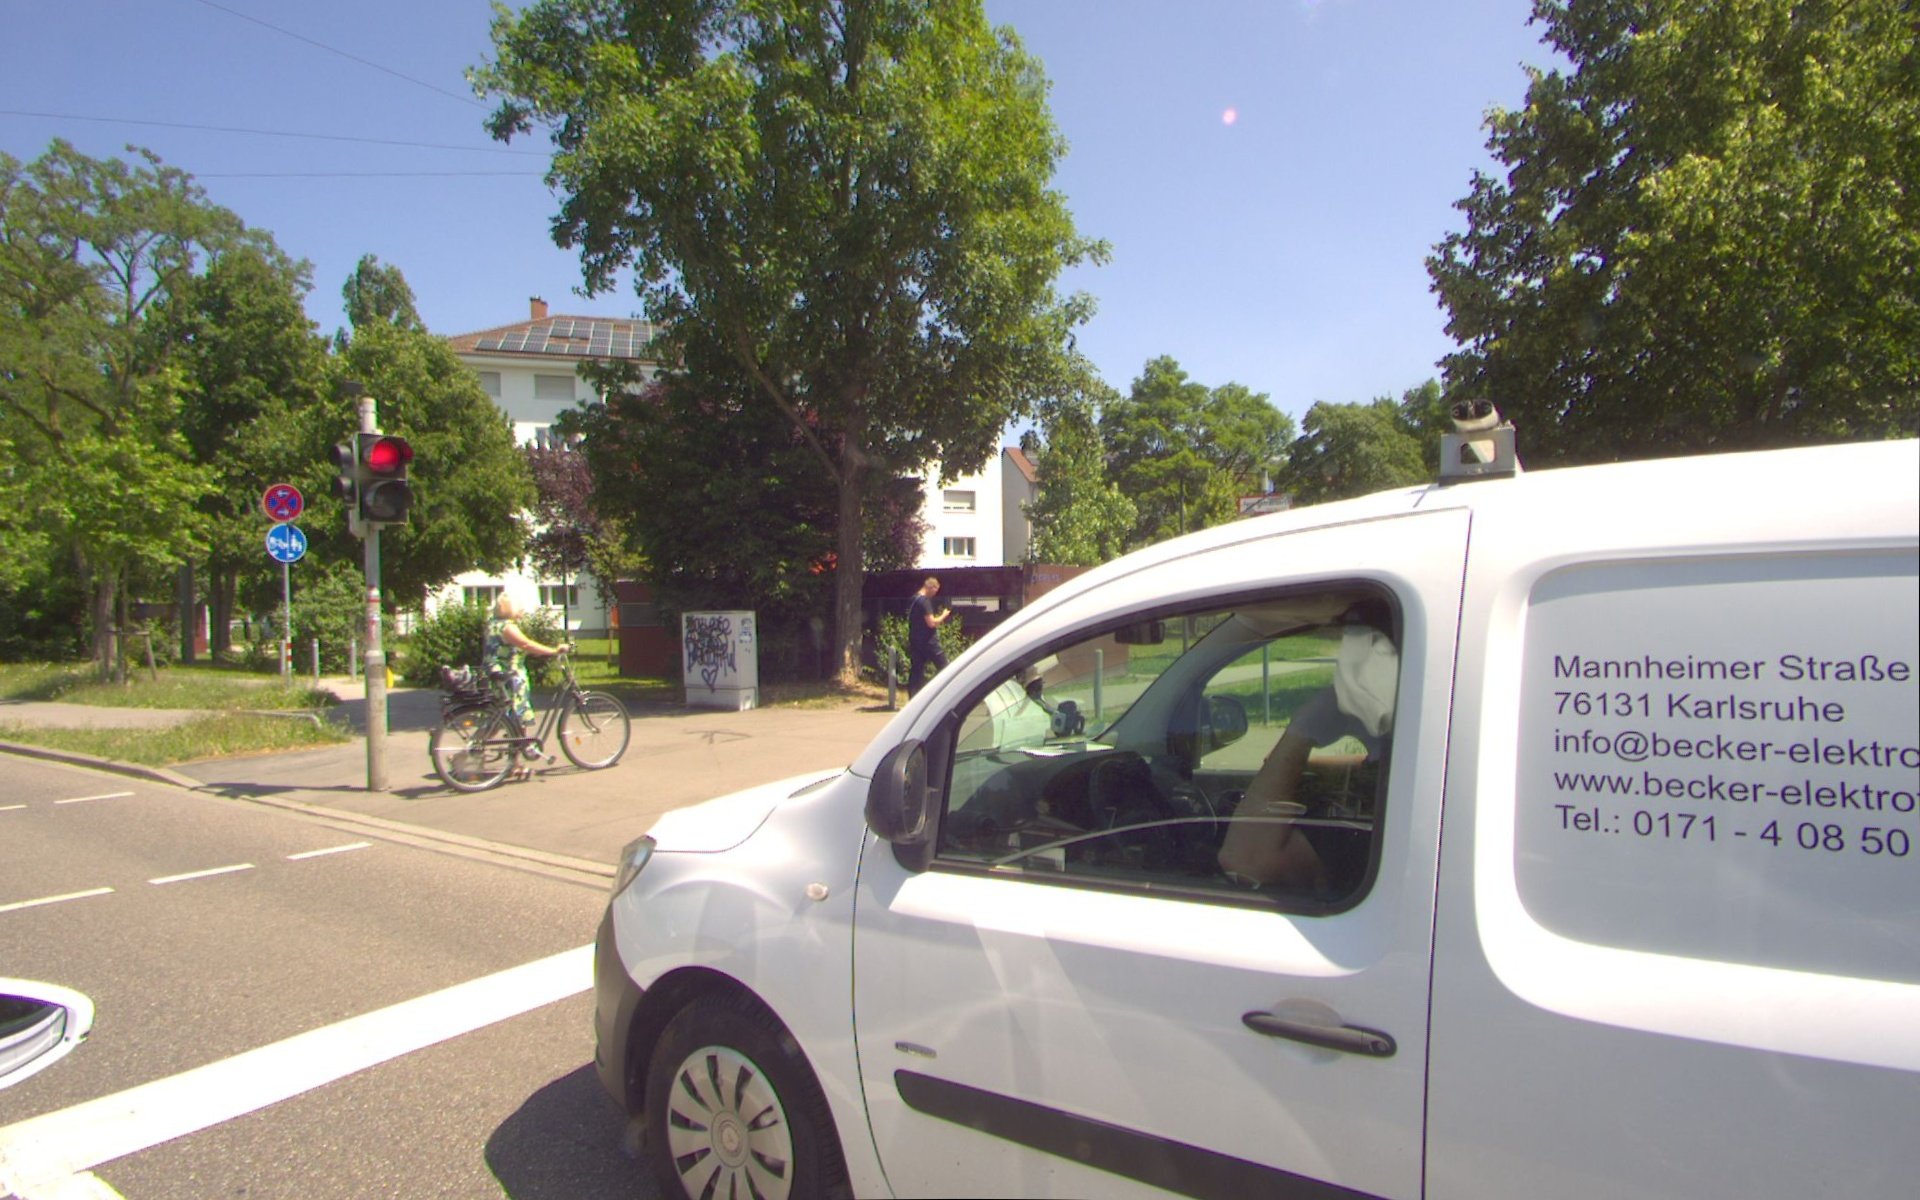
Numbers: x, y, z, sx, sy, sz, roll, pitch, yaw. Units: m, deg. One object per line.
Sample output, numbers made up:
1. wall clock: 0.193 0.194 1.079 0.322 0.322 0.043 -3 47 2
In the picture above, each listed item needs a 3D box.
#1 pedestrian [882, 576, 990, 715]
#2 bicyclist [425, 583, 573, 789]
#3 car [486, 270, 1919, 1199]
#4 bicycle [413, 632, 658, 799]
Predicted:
1. pedestrian: -0.332 0.599 13.752 1.173 1.801 0.834 -2 1 -34
2. bicyclist: -4.071 0.719 8.888 0.573 1.690 0.953 0 3 36
3. car: 1.131 0.566 2.300 4.384 1.850 1.990 -1 0 32
4. bicycle: -3.691 0.949 8.893 0.534 1.177 1.949 0 3 36
